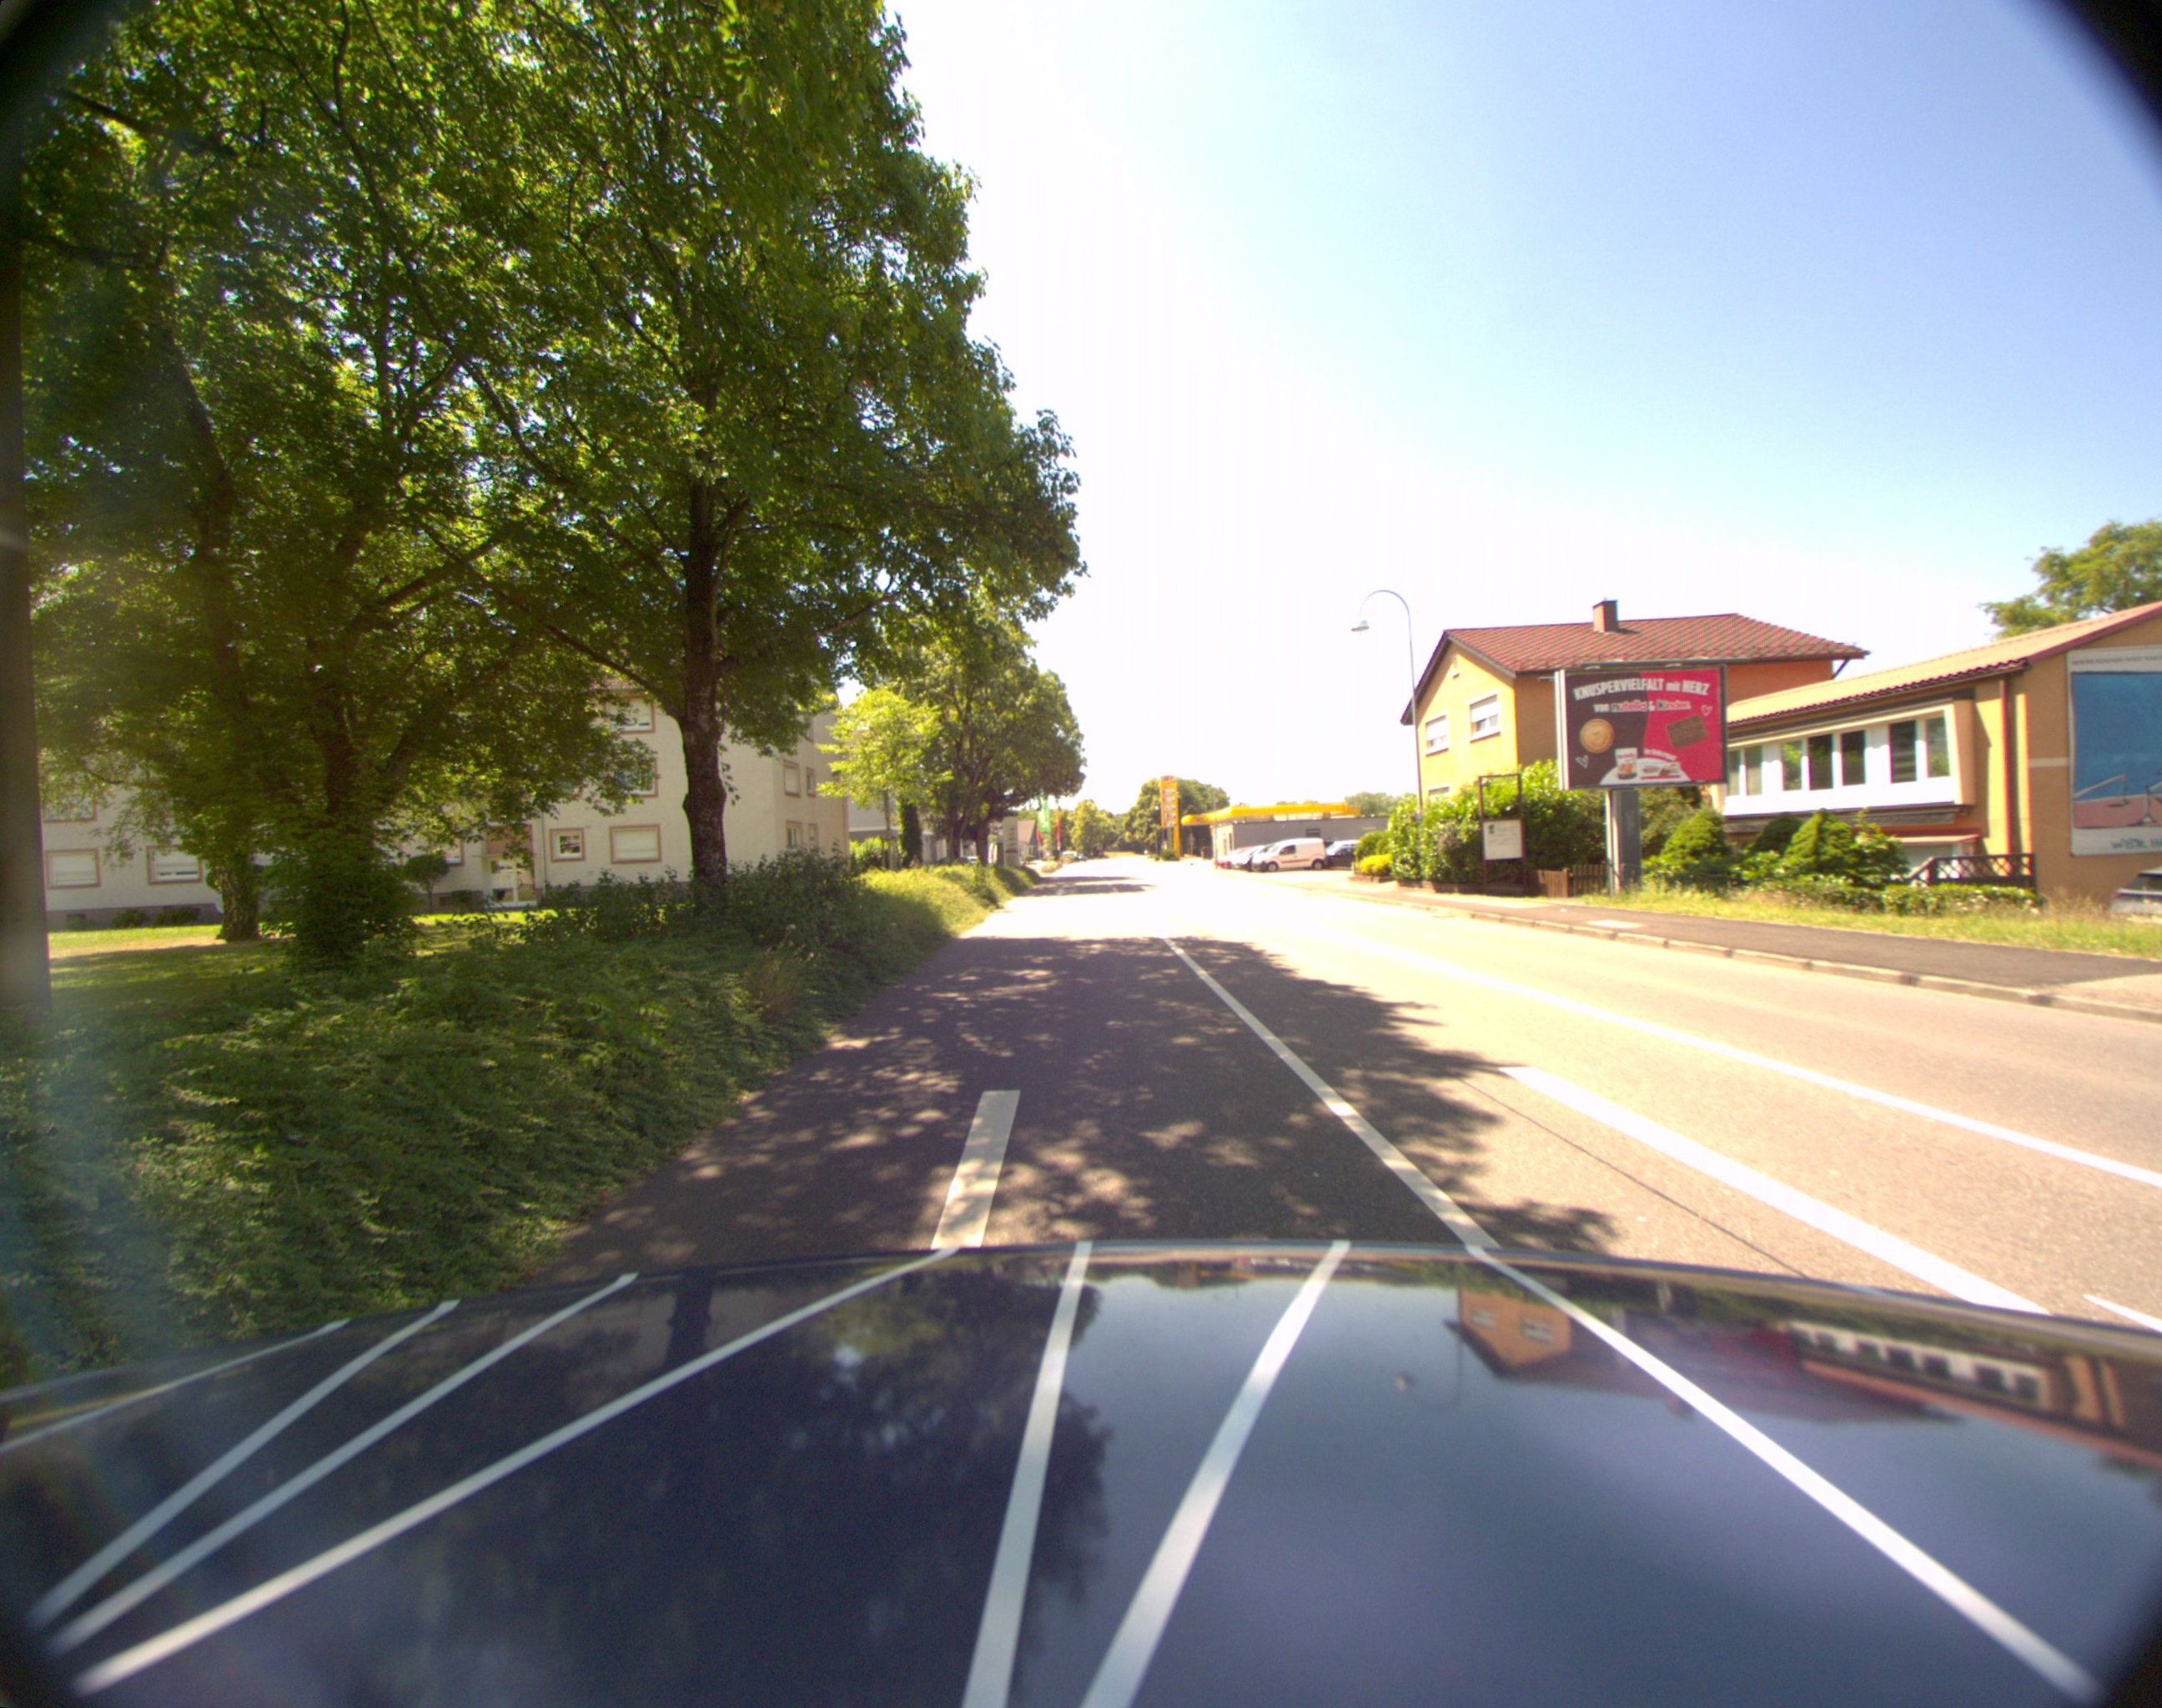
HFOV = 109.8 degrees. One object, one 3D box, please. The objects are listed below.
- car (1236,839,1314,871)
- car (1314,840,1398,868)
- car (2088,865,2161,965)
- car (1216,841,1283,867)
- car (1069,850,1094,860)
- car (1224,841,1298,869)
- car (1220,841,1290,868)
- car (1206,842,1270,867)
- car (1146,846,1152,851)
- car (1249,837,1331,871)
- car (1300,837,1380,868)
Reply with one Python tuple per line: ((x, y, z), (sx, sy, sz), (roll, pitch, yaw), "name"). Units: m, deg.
((11.823, 0.052, 46.476), (4.246, 1.750, 1.874), (-2, 1, -5), "car")
((16.744, 0.018, 46.360), (4.402, 1.554, 1.874), (-2, 1, -5), "car")
((19.924, 0.984, 12.395), (4.224, 1.599, 1.772), (-1, 1, 7), "car")
((12.256, -0.028, 55.393), (4.402, 1.750, 1.874), (-2, 1, -5), "car")
((0.012, 0.192, 119.925), (1.776, 1.521, 4.119), (-2, 1, -37), "car")
((12.057, 0.052, 51.057), (4.402, 1.750, 1.874), (-2, 1, -5), "car")
((12.203, 0.023, 53.303), (4.402, 1.750, 1.874), (-2, 1, -5), "car")
((11.994, 0.026, 58.027), (4.402, 1.750, 1.874), (-2, 1, -5), "car")
((21.598, -1.780, 240.689), (1.808, 1.552, 4.065), (-2, 1, 8), "car")
((12.171, -0.017, 44.433), (4.191, 1.858, 1.874), (-2, 1, -5), "car")
((16.498, -0.109, 48.543), (4.402, 1.815, 1.874), (-2, 1, -5), "car")
